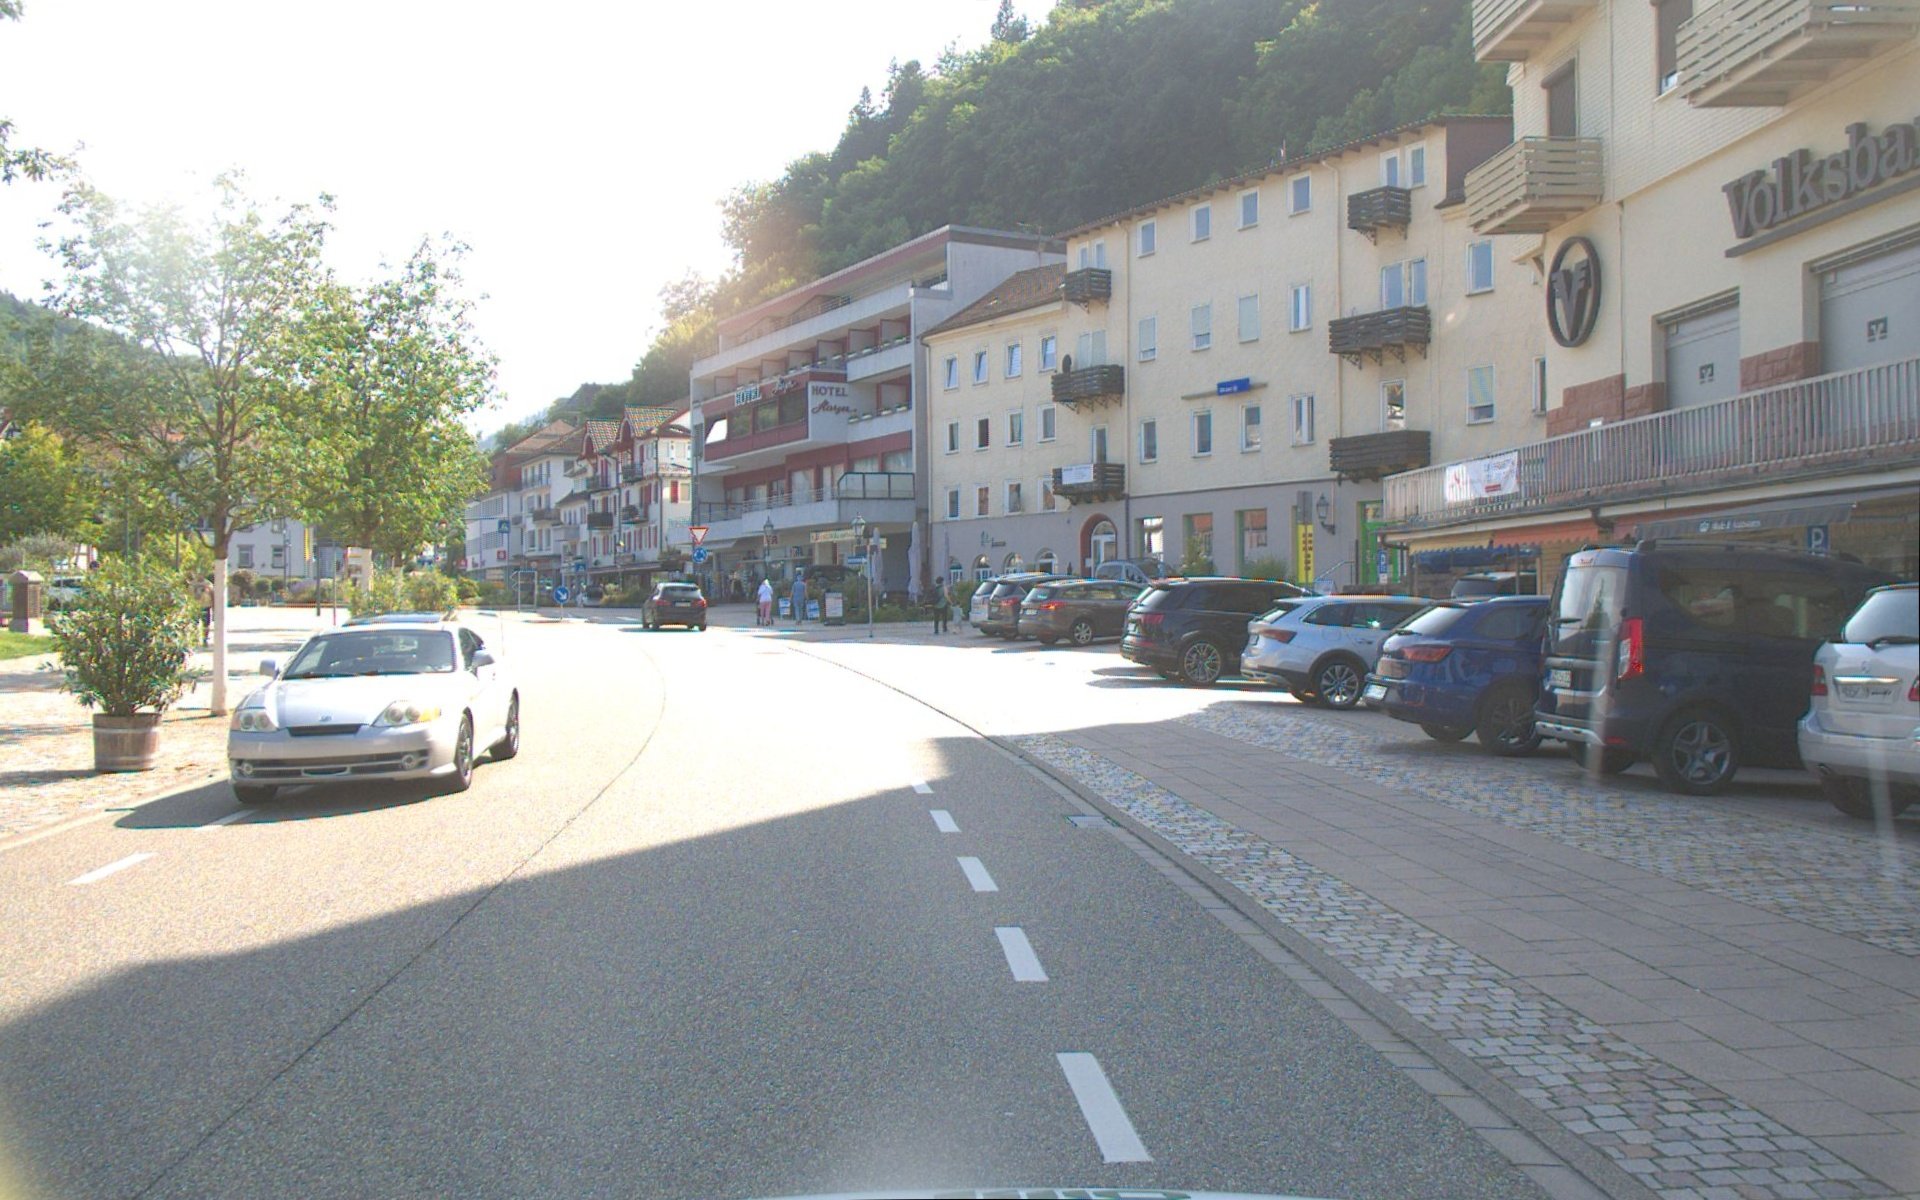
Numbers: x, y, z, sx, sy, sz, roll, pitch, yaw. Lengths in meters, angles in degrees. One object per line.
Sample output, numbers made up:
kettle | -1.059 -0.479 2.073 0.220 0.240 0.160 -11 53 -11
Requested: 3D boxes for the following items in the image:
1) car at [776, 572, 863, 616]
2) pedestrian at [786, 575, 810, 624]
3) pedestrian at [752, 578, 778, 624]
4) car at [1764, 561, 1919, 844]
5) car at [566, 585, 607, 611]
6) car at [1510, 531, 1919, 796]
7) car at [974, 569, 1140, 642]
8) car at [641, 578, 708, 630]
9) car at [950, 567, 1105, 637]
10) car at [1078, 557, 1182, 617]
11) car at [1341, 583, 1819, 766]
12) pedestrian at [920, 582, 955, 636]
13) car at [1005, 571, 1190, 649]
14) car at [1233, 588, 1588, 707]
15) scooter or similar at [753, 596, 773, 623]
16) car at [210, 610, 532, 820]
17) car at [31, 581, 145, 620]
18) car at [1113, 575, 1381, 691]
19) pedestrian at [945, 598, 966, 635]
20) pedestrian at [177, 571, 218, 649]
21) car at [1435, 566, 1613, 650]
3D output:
car | -5.531 -0.249 65.072 3.122 1.692 1.583 0 0 -24
pedestrian | -5.786 -0.017 58.985 0.660 1.759 0.702 0 0 -26
pedestrian | -6.989 0.035 59.215 0.748 1.621 0.623 0 0 -26
car | 7.362 0.630 10.308 3.832 1.617 1.774 2 0 -3
car | -24.235 -0.107 107.308 1.657 1.649 3.964 0 0 -27
car | 6.557 0.502 12.955 3.832 1.836 1.856 2 -1 -3
car | 2.467 0.113 42.198 3.811 1.576 1.760 -4 2 -24
car | -9.563 0.108 55.299 1.700 1.602 3.734 0 2 -18
car | 1.855 0.033 45.167 3.811 1.640 1.760 -4 2 -24
car | 6.052 -0.501 59.187 1.841 2.048 3.635 0 2 -34
car | 5.747 0.665 15.624 3.832 1.486 1.735 2 0 -3
pedestrian | -0.638 0.251 47.011 0.721 1.467 0.632 -2 1 29
car | 3.230 0.201 38.895 3.957 1.542 1.760 -4 2 -24
car | 5.939 0.632 22.144 4.268 1.486 1.772 1 -1 -1
scooter or similar | -7.065 0.338 59.379 0.589 0.967 0.470 0 0 -26
car | -4.766 0.833 13.963 1.596 1.394 4.058 -3 0 -6
car | -38.370 0.013 72.851 4.092 1.644 1.686 0 0 -10
car | 4.646 0.519 27.147 4.003 1.695 1.771 2 0 -3
pedestrian | -0.136 0.458 46.972 0.408 1.019 0.531 -2 1 19
pedestrian | -18.224 0.231 39.540 0.855 1.847 0.686 0 0 -25
car | 12.124 0.124 35.496 3.880 1.637 1.750 -2 2 -37
